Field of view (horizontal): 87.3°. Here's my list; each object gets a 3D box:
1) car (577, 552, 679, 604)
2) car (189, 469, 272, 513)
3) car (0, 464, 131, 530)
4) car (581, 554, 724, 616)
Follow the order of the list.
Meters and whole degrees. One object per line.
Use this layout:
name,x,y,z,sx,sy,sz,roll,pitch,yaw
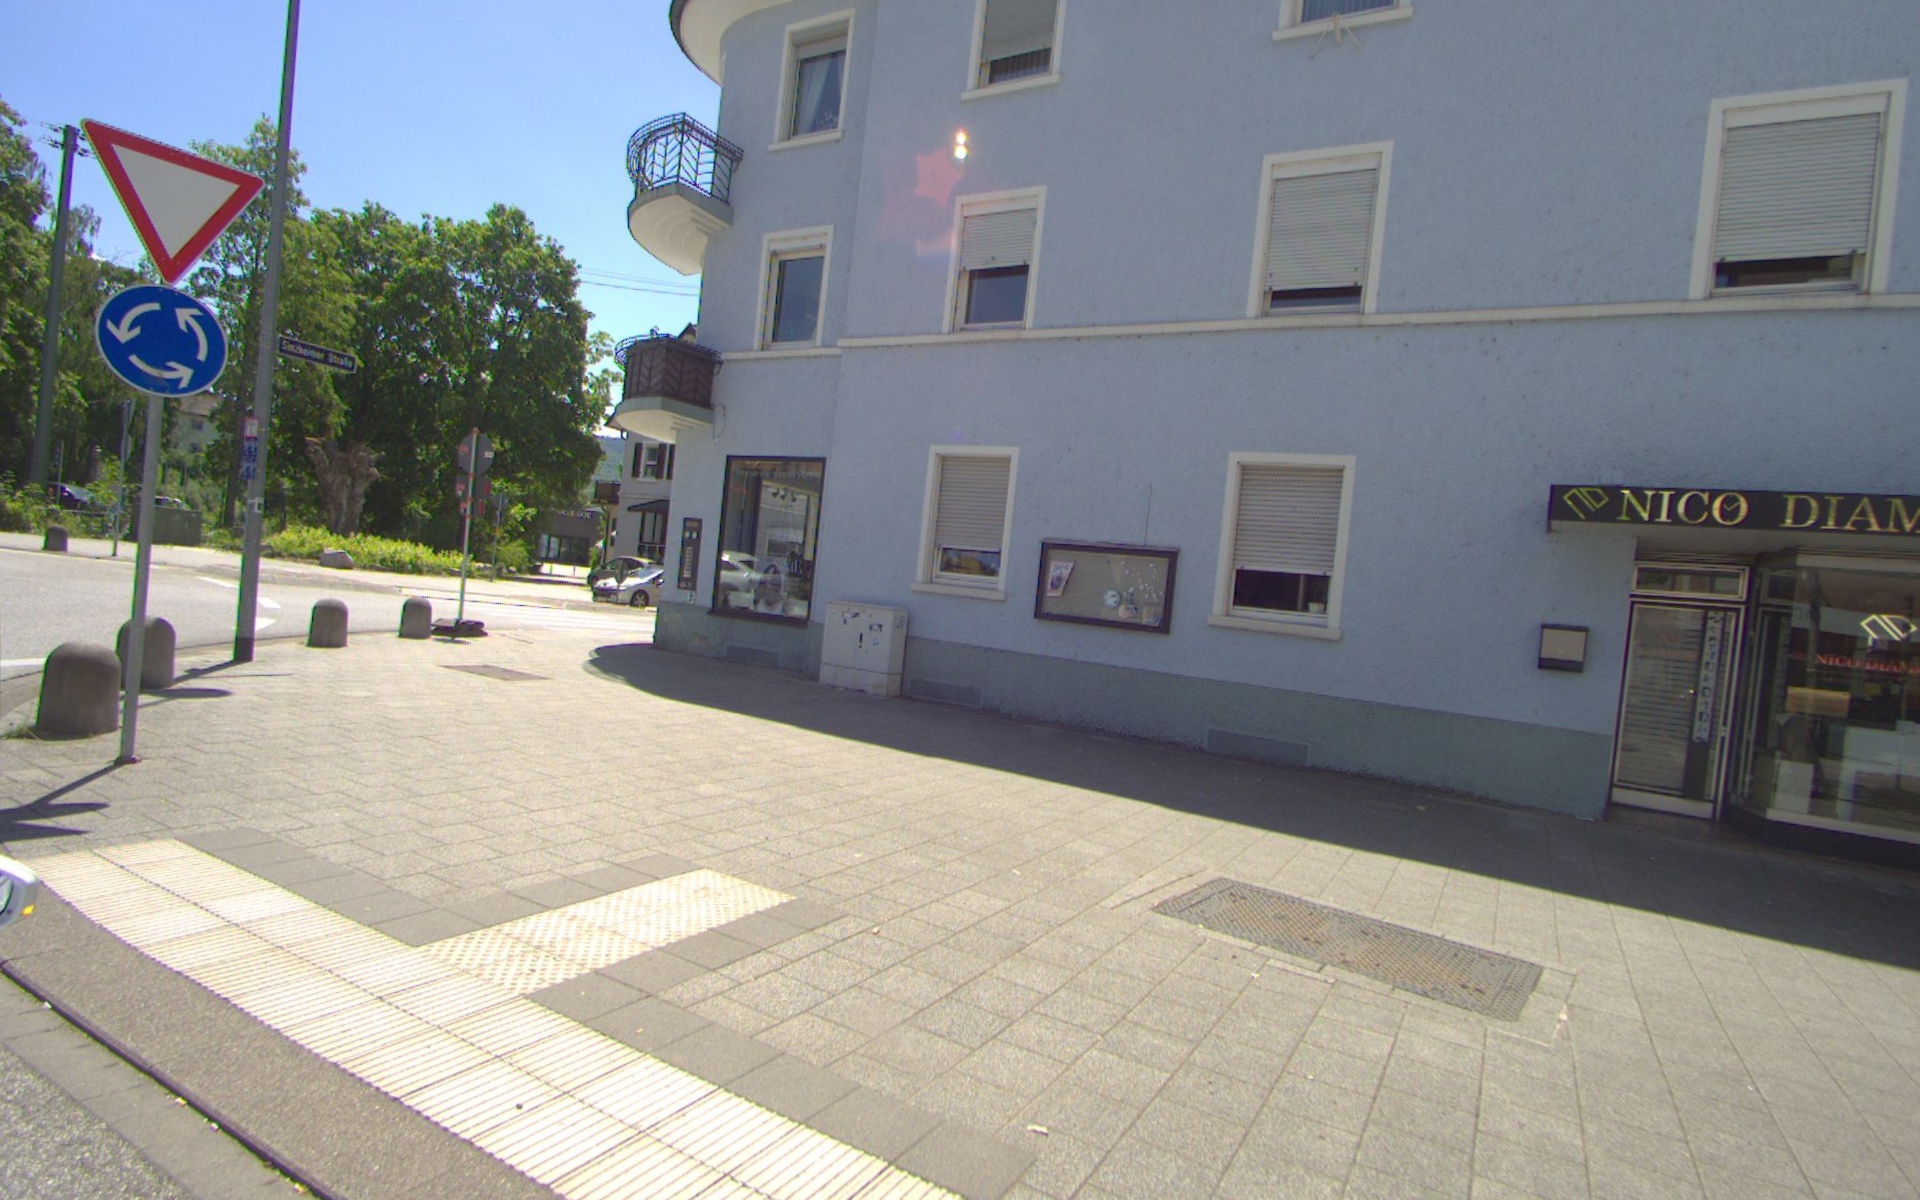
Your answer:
car,-13.544,-0.903,40.931,3.935,1.660,1.753,7,1,33
car,-45.083,-6.696,62.265,3.961,2.039,1.981,6,1,-34
car,-36.451,-4.163,40.649,3.933,2.039,1.996,7,1,-10
car,-9.812,-0.435,32.405,1.717,1.535,4.198,7,0,32
